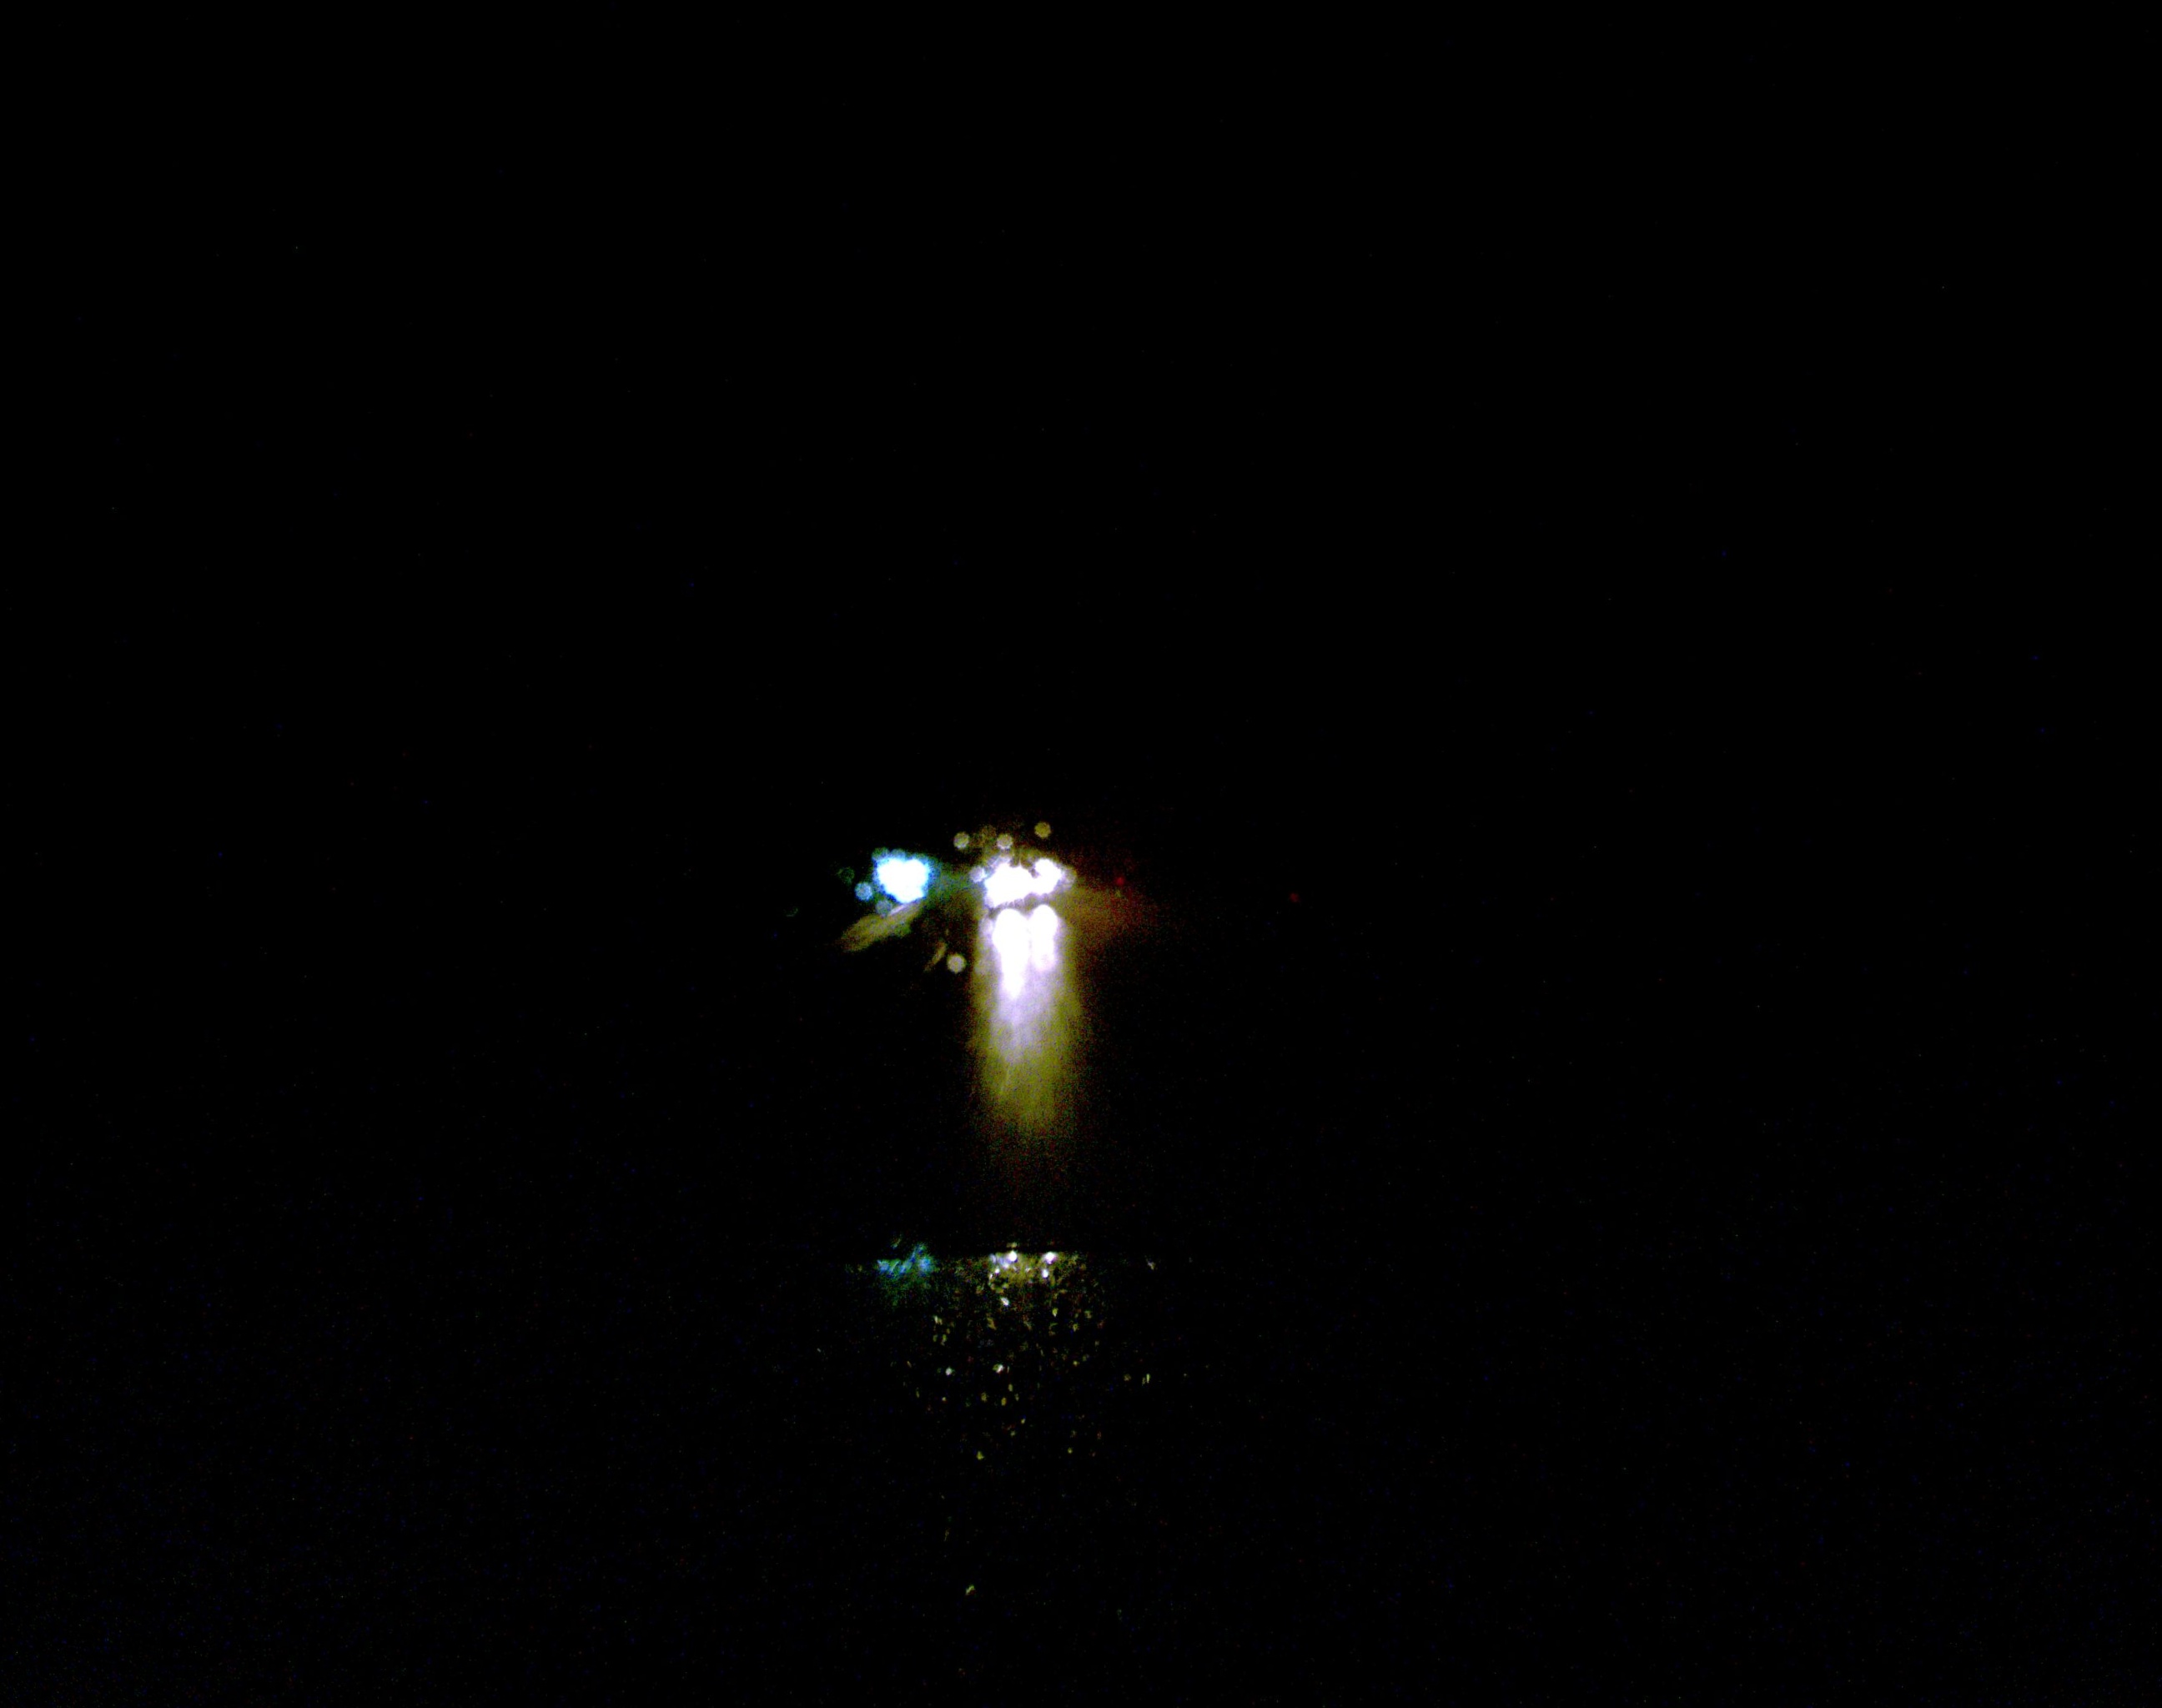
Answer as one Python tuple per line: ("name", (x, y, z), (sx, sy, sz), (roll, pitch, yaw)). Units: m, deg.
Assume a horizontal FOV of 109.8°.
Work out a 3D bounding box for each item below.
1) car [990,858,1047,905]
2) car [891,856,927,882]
("car", (-2.245, 0.914, 27.305), (1.850, 1.441, 3.998), (-2, 1, -5))
("car", (-11.767, 1.023, 51.776), (1.851, 1.440, 3.870), (-8, 0, -18))
